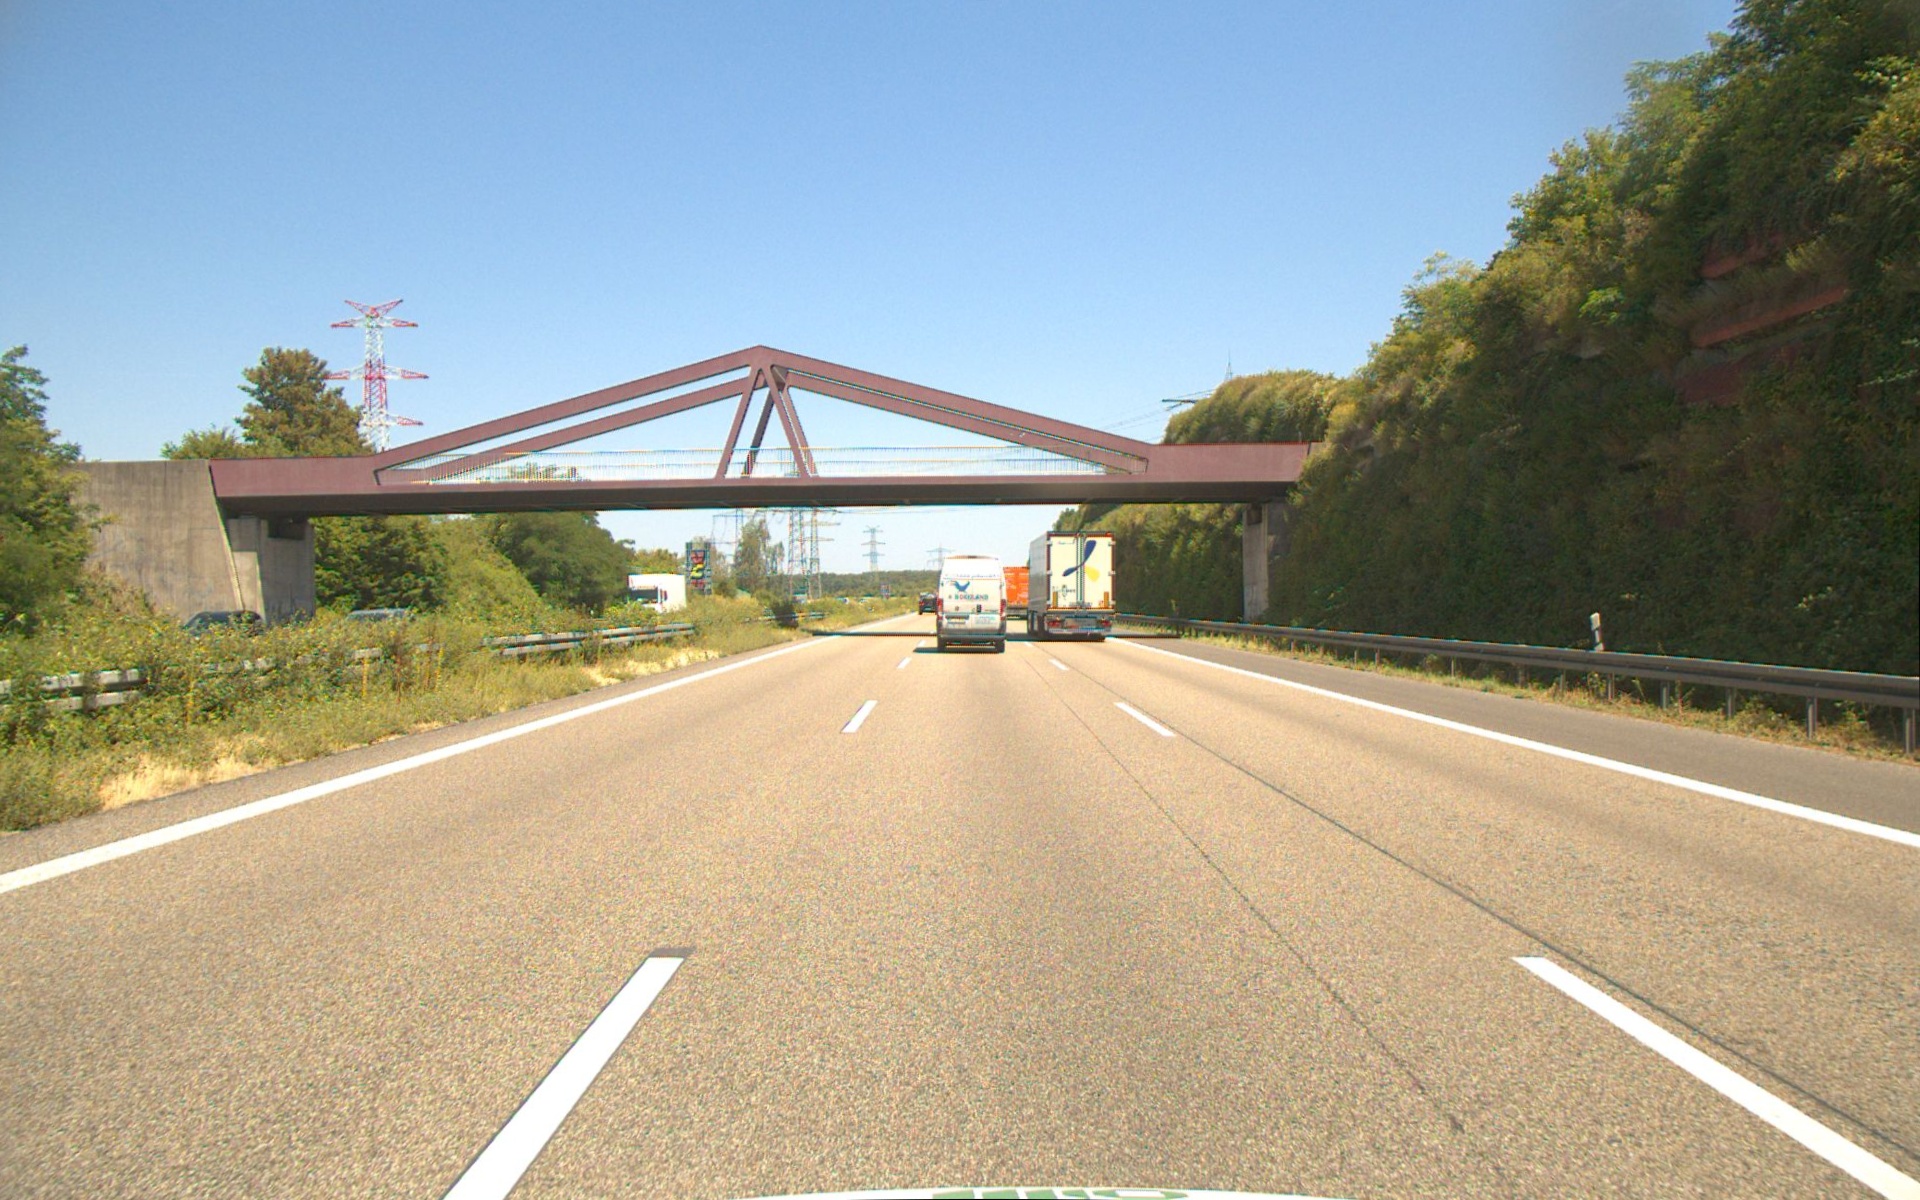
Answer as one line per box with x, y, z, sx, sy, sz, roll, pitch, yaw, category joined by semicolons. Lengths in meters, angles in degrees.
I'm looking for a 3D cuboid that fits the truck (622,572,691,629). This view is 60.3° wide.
-20.415;0.011;111.817;2.751;3.599;10.187;-2;0;-1;truck

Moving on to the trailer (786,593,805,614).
-20.717;0.447;208.513;1.763;2.664;4.408;1;0;1;trailer

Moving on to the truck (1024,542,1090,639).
4.339;-0.425;74.766;2.583;4.131;5.799;1;0;0;truck

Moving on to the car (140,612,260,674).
-23.945;1.332;52.310;1.665;1.799;4.403;1;0;1;car

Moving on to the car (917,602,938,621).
-3.296;1.156;166.611;1.941;1.849;3.813;1;0;1;car

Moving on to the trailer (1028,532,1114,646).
4.324;-0.412;66.839;2.583;4.131;12.366;1;0;0;trailer

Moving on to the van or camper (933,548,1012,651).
0.320;-0.019;49.308;2.185;2.831;5.422;1;0;-1;van or camper

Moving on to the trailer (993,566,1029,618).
3.997;-0.625;130.503;2.583;3.965;7.068;1;0;0;trailer
